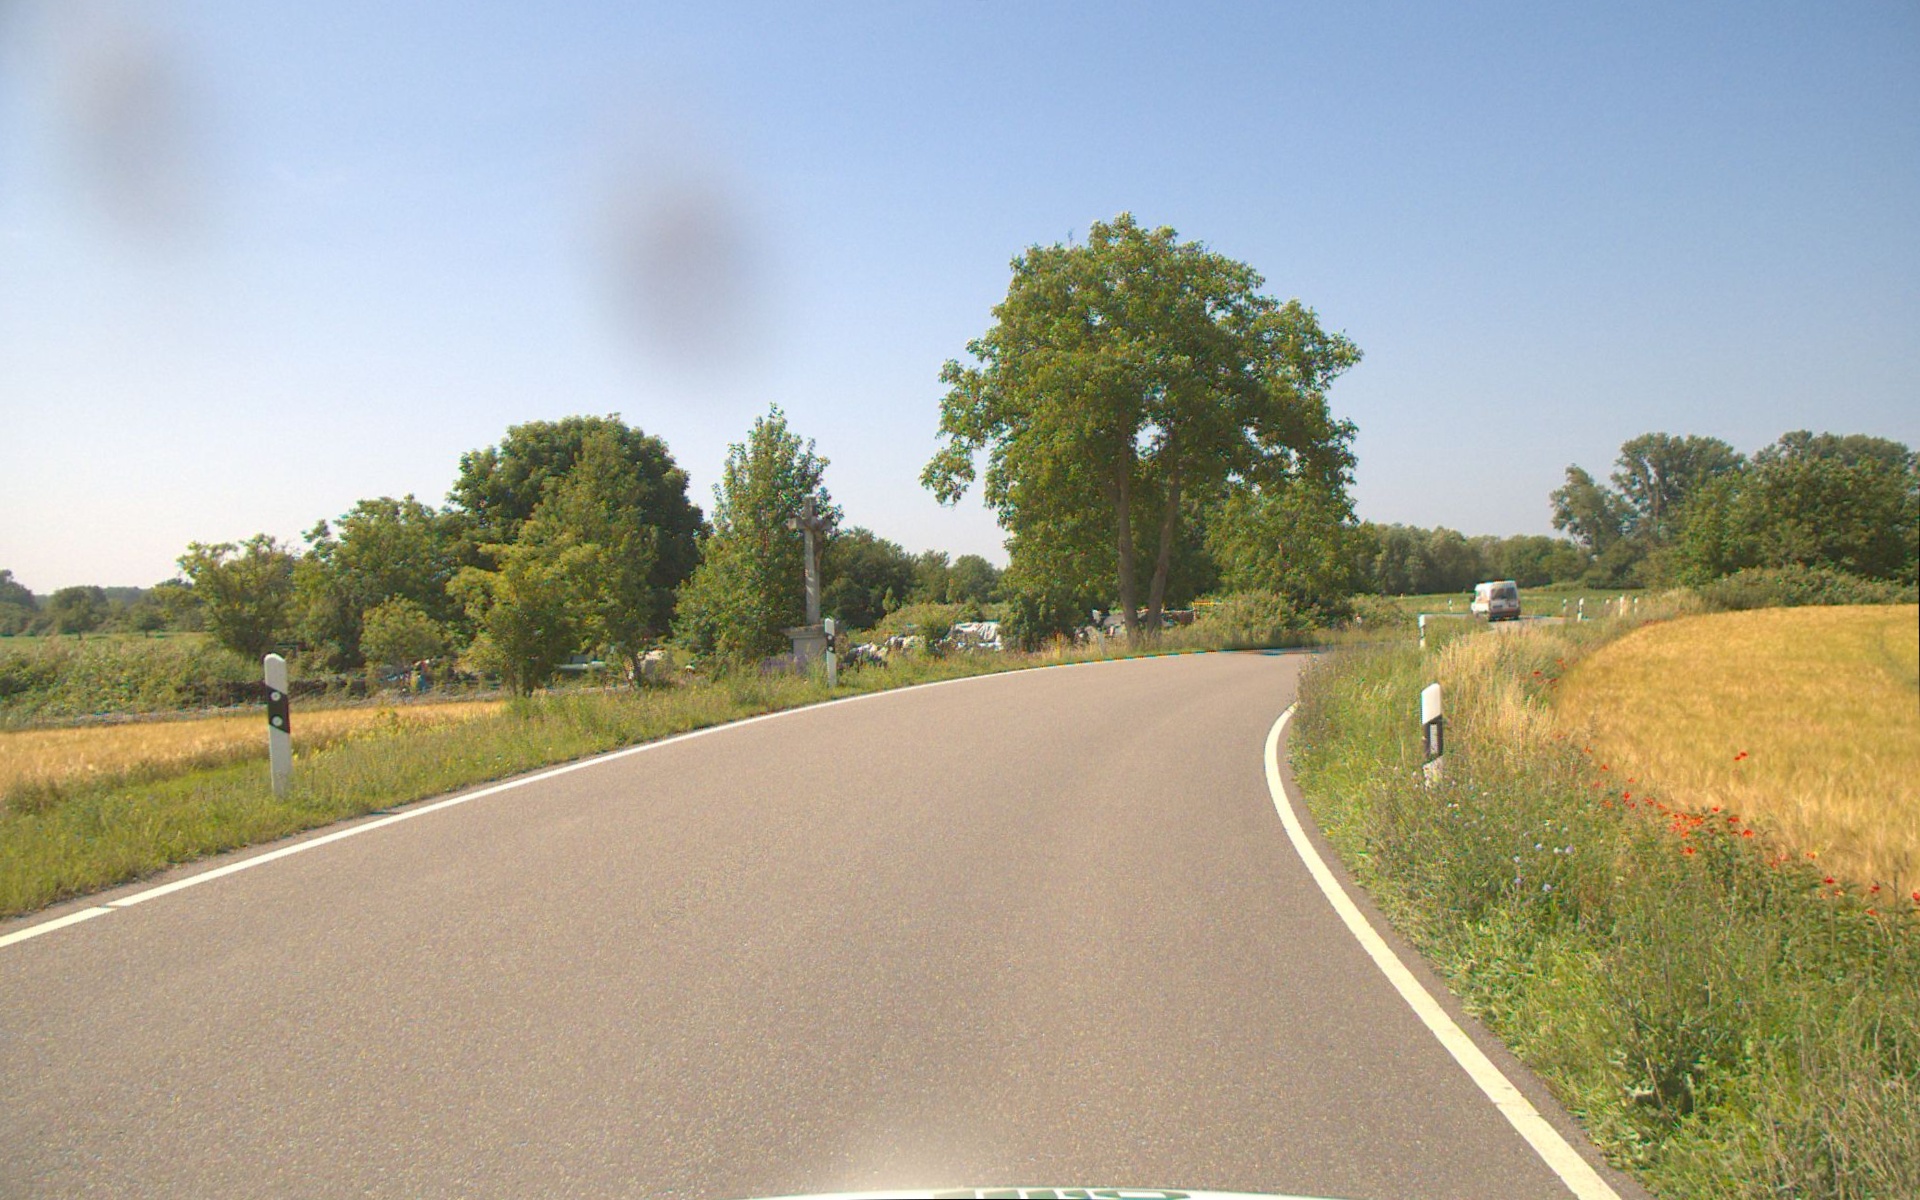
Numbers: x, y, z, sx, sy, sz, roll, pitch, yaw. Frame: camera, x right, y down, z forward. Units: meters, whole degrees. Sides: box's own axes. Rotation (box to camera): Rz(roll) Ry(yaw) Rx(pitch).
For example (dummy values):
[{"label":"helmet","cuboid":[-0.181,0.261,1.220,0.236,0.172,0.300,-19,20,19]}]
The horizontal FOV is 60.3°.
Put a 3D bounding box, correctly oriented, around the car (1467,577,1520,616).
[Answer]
[{"label":"car","cuboid":[34.625,-0.232,107.451,2.059,2.408,5.691,-2,0,5]}]
